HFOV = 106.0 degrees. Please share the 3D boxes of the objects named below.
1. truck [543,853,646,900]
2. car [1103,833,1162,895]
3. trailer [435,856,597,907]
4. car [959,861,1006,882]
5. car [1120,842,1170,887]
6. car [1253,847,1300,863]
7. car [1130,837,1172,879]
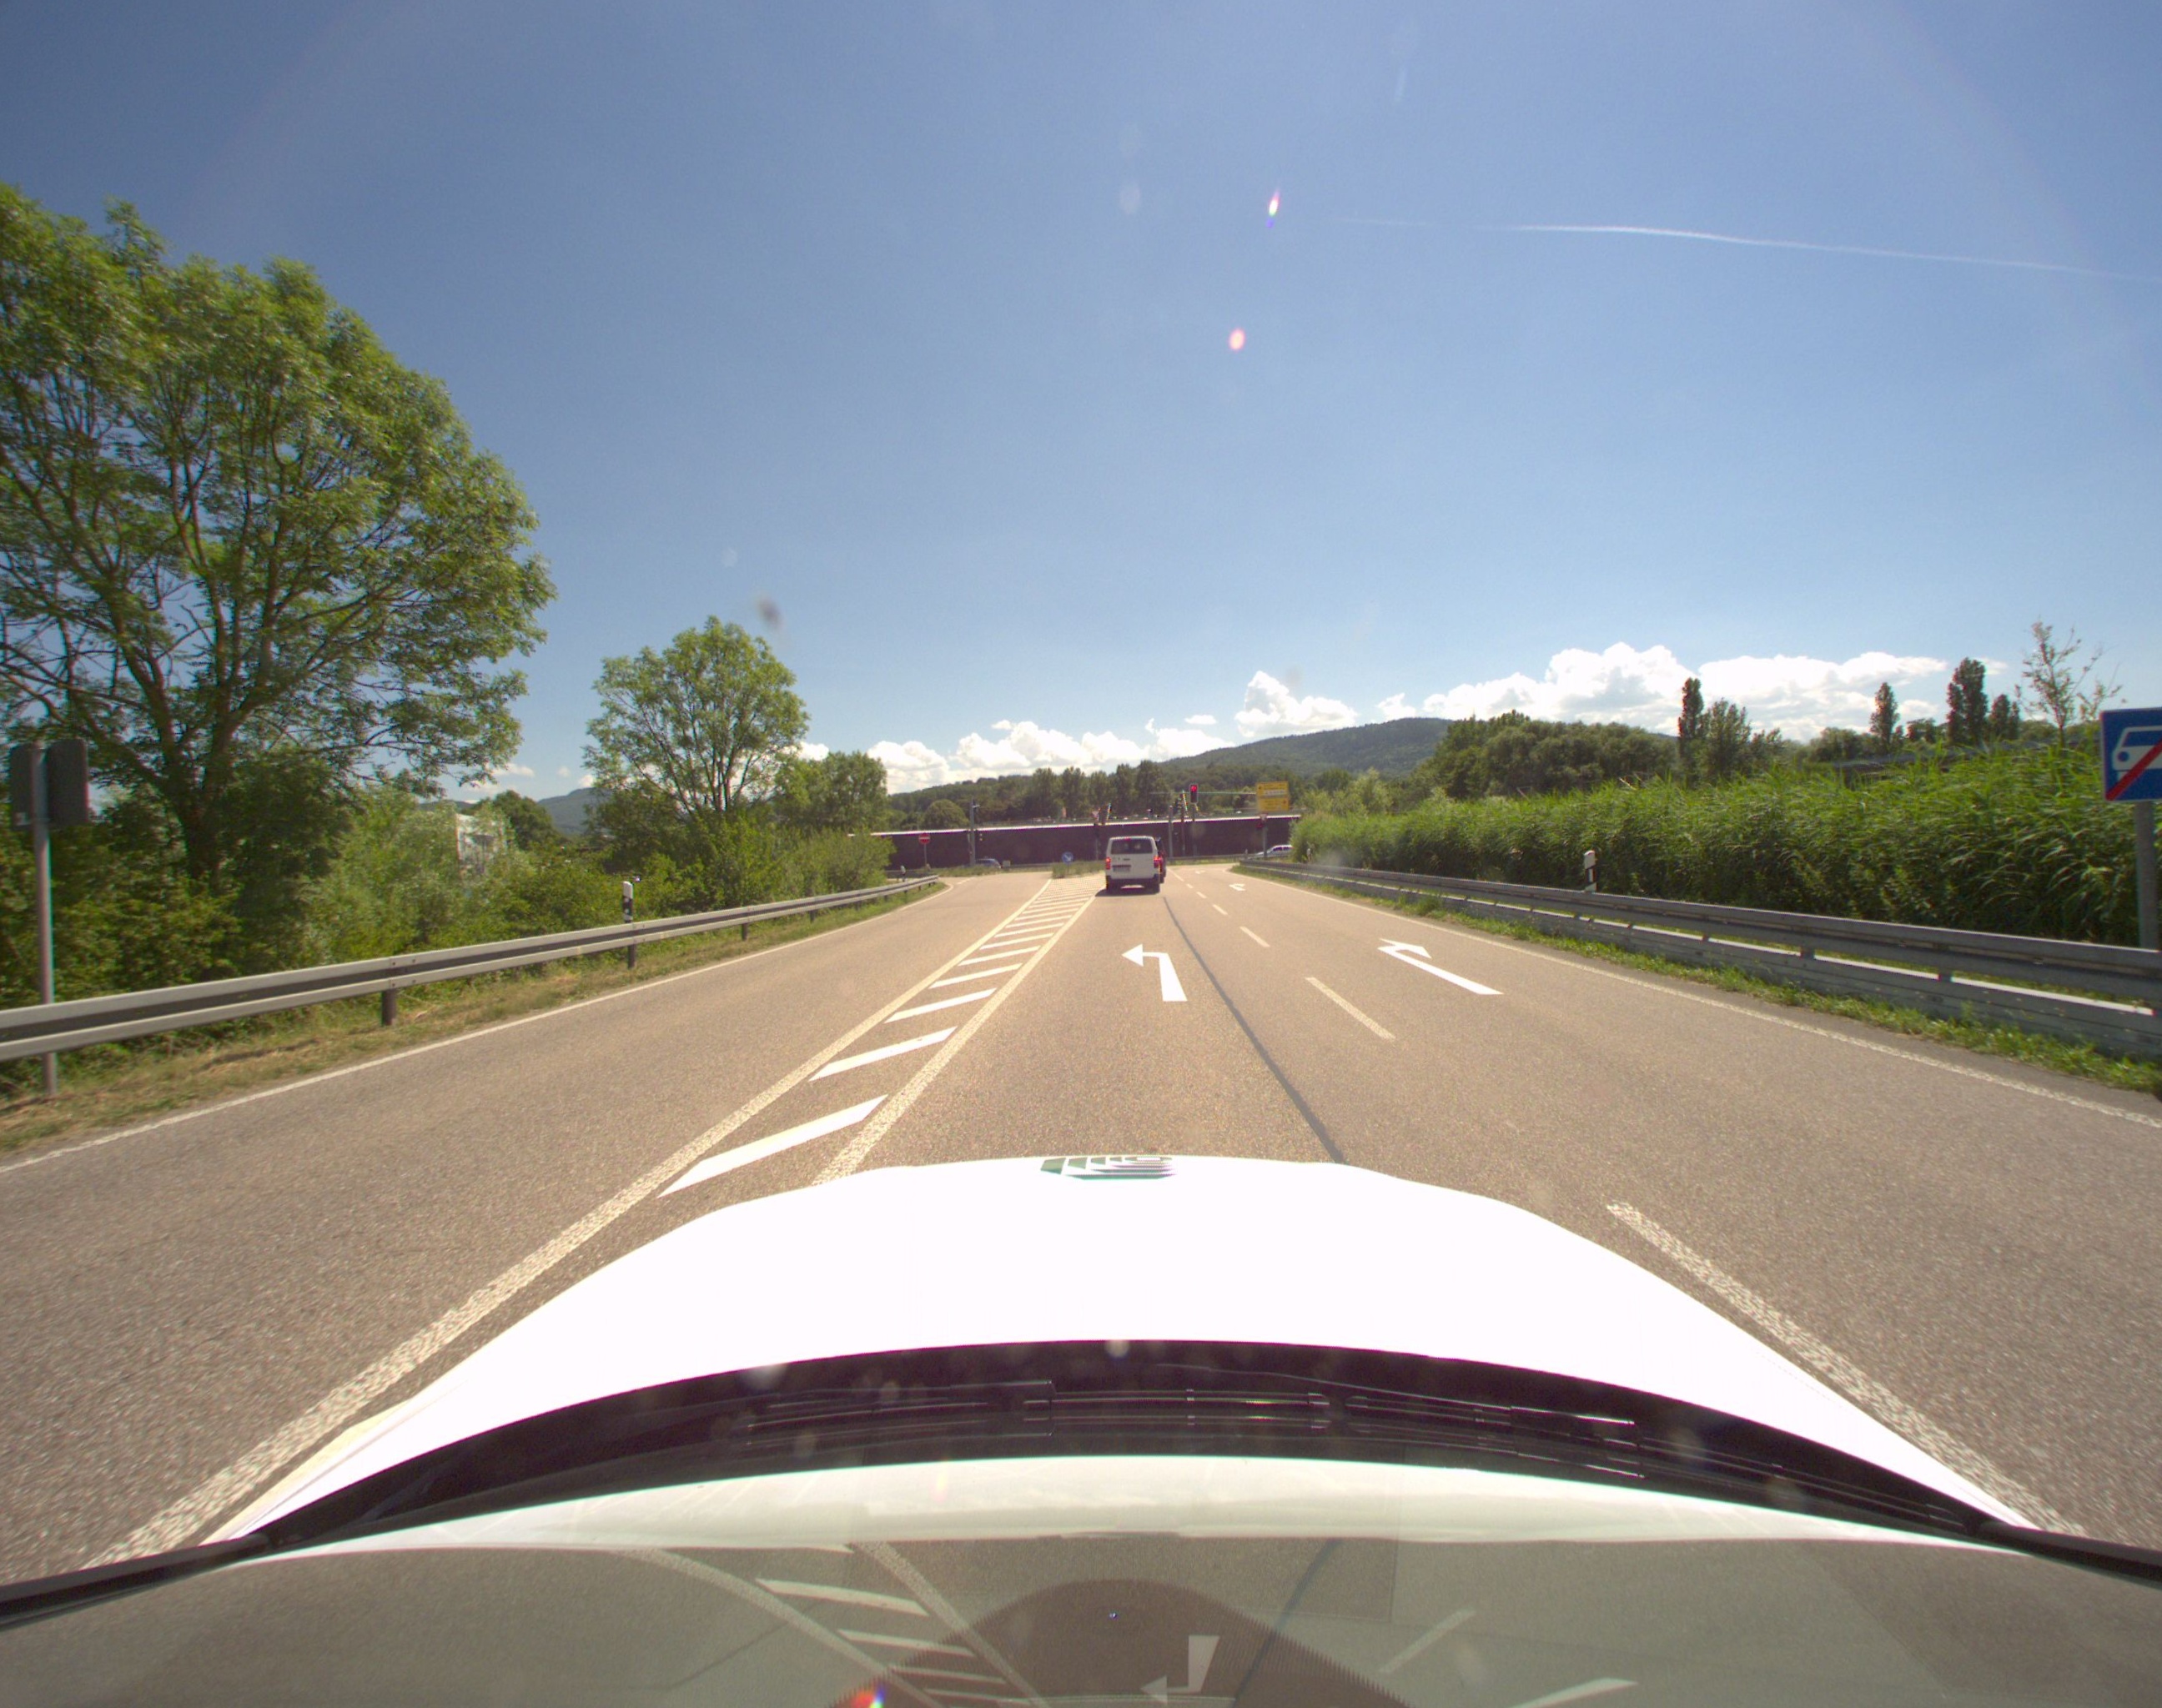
[{"bbox_3d":[-42.276,1.953,70.822,7.378,3.504,2.233,-4,1,1],"label":"truck"},{"bbox_3d":[1.820,0.334,28.705,1.862,1.964,4.004,-2,0,4],"label":"car"},{"bbox_3d":[-49.075,2.364,70.872,12.279,3.504,2.233,-4,1,0],"label":"trailer"},{"bbox_3d":[-9.228,1.605,76.492,3.970,1.769,2.002,-2,0,3],"label":"car"},{"bbox_3d":[2.870,0.442,36.521,1.984,1.812,4.005,-4,0,4],"label":"car"},{"bbox_3d":[18.100,0.060,75.418,3.970,1.349,1.850,-1,2,3],"label":"car"},{"bbox_3d":[3.723,0.211,43.624,1.984,2.013,4.005,-4,0,4],"label":"car"}]
